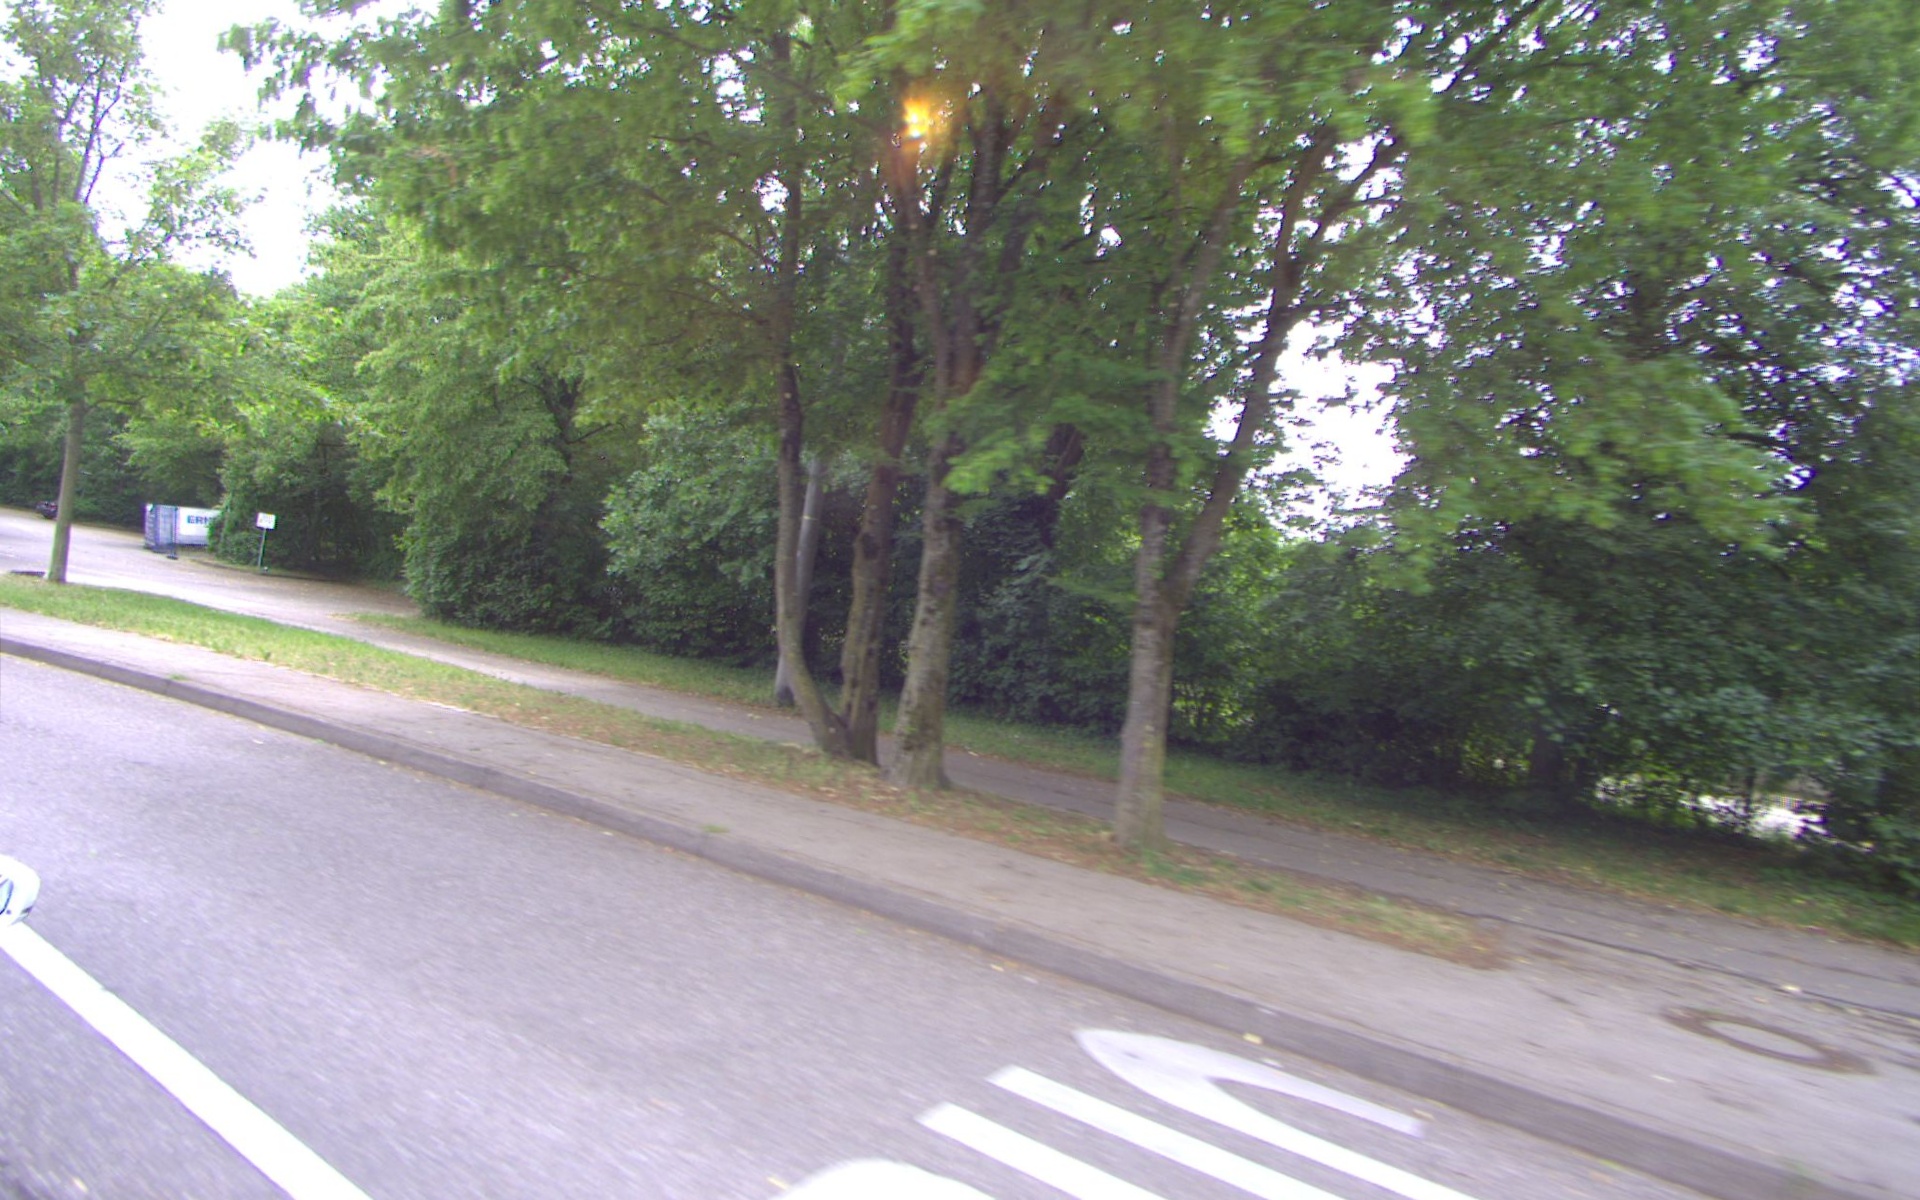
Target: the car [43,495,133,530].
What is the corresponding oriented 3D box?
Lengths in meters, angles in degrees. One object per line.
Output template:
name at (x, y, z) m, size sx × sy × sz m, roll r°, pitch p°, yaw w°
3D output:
car at (-56.832, -5.687, 65.637) m, size 1.769 × 1.425 × 3.999 m, roll 7°, pitch -2°, yaw 27°
